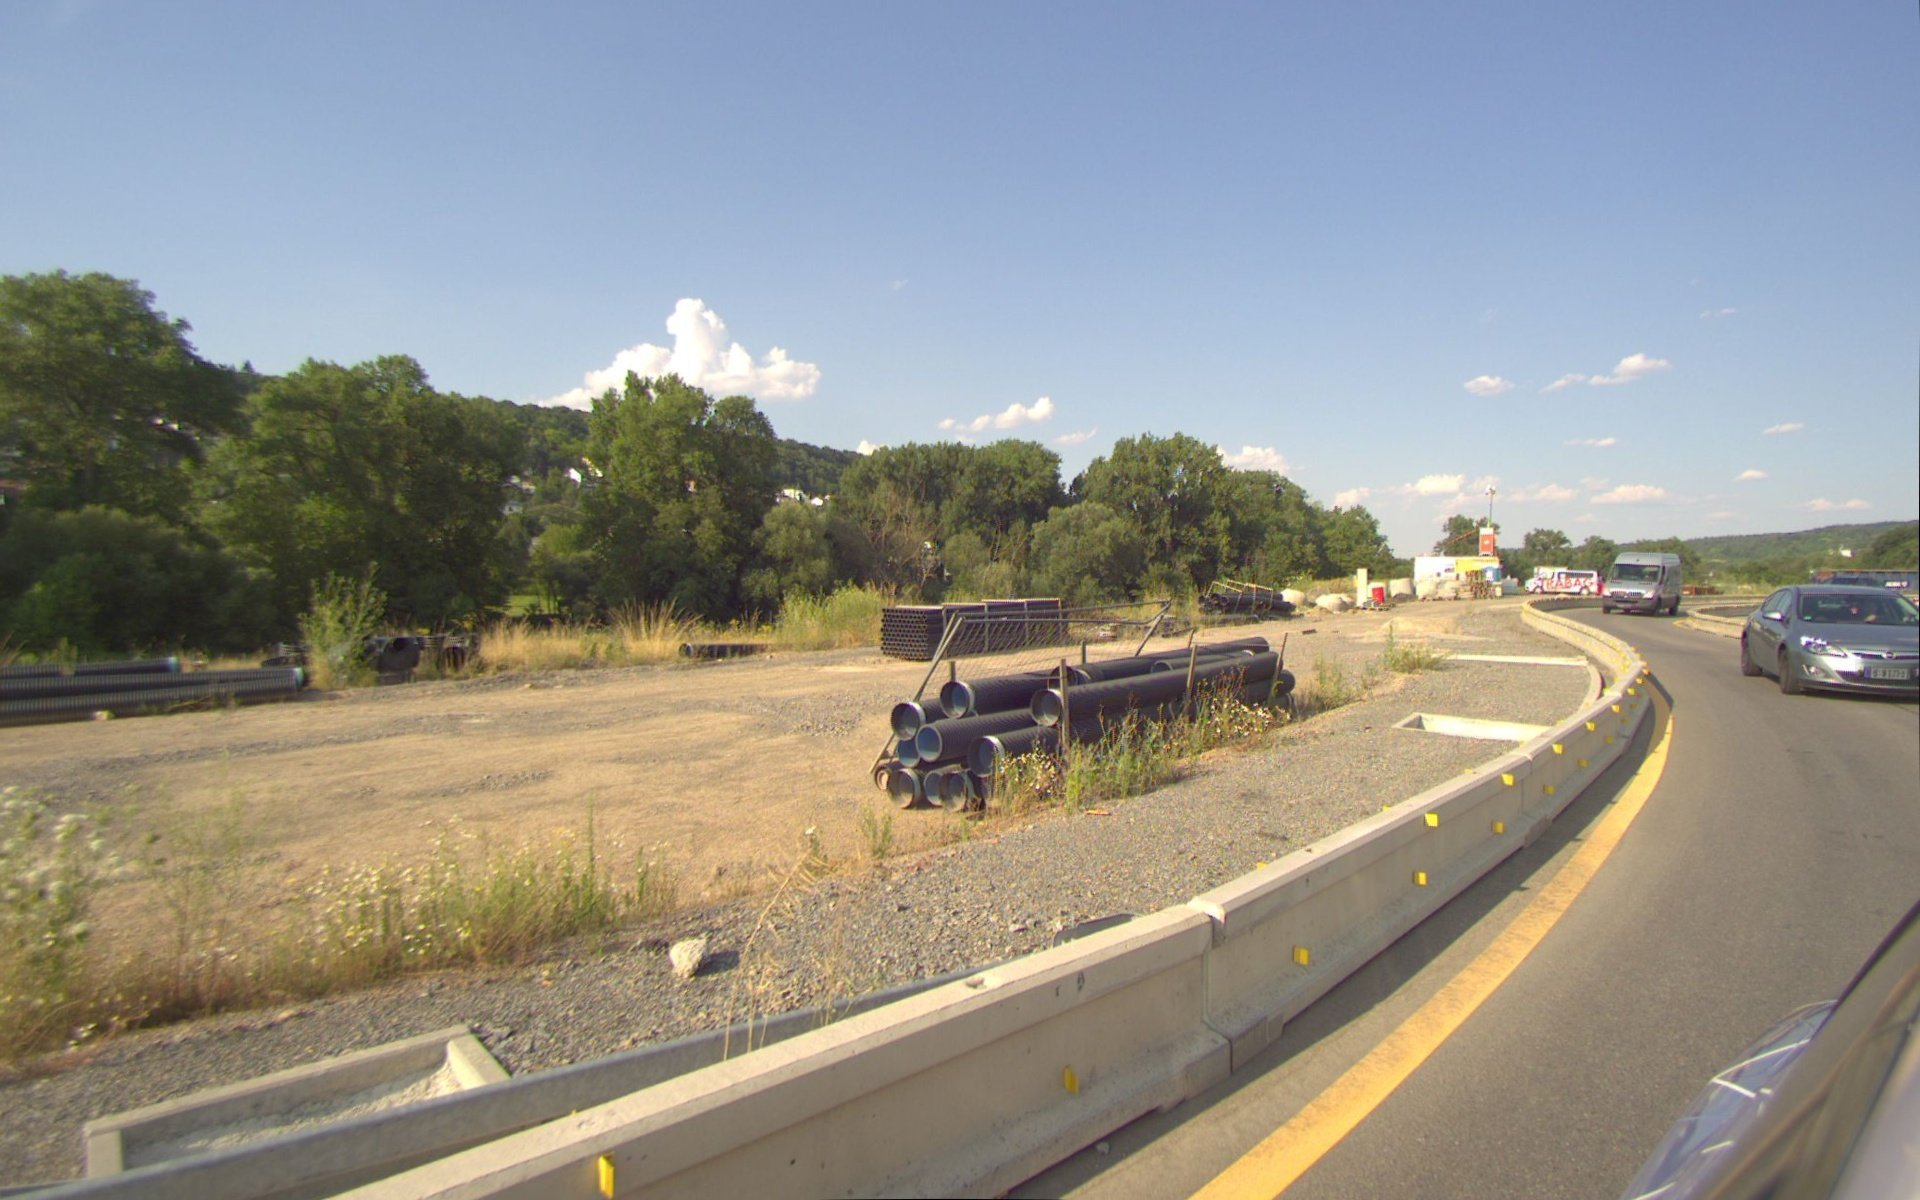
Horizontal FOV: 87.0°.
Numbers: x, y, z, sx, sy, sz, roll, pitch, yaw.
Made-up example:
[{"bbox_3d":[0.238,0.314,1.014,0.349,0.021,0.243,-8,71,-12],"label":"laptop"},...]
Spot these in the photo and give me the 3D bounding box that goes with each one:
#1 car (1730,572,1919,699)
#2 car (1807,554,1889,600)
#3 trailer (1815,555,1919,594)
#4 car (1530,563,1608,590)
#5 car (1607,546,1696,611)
[{"bbox_3d":[12.443,0.388,14.227,1.731,1.502,4.214,2,2,26],"label":"car"},{"bbox_3d":[48.400,-1.254,55.156,3.917,2.433,1.881,-1,2,-24],"label":"car"},{"bbox_3d":[60.563,-1.648,65.751,7.103,2.444,3.009,0,1,7],"label":"trailer"},{"bbox_3d":[49.701,-1.930,82.745,5.269,2.104,2.464,1,2,28],"label":"car"},{"bbox_3d":[29.075,-0.956,42.471,5.701,2.531,1.913,-2,3,-43],"label":"car"}]
